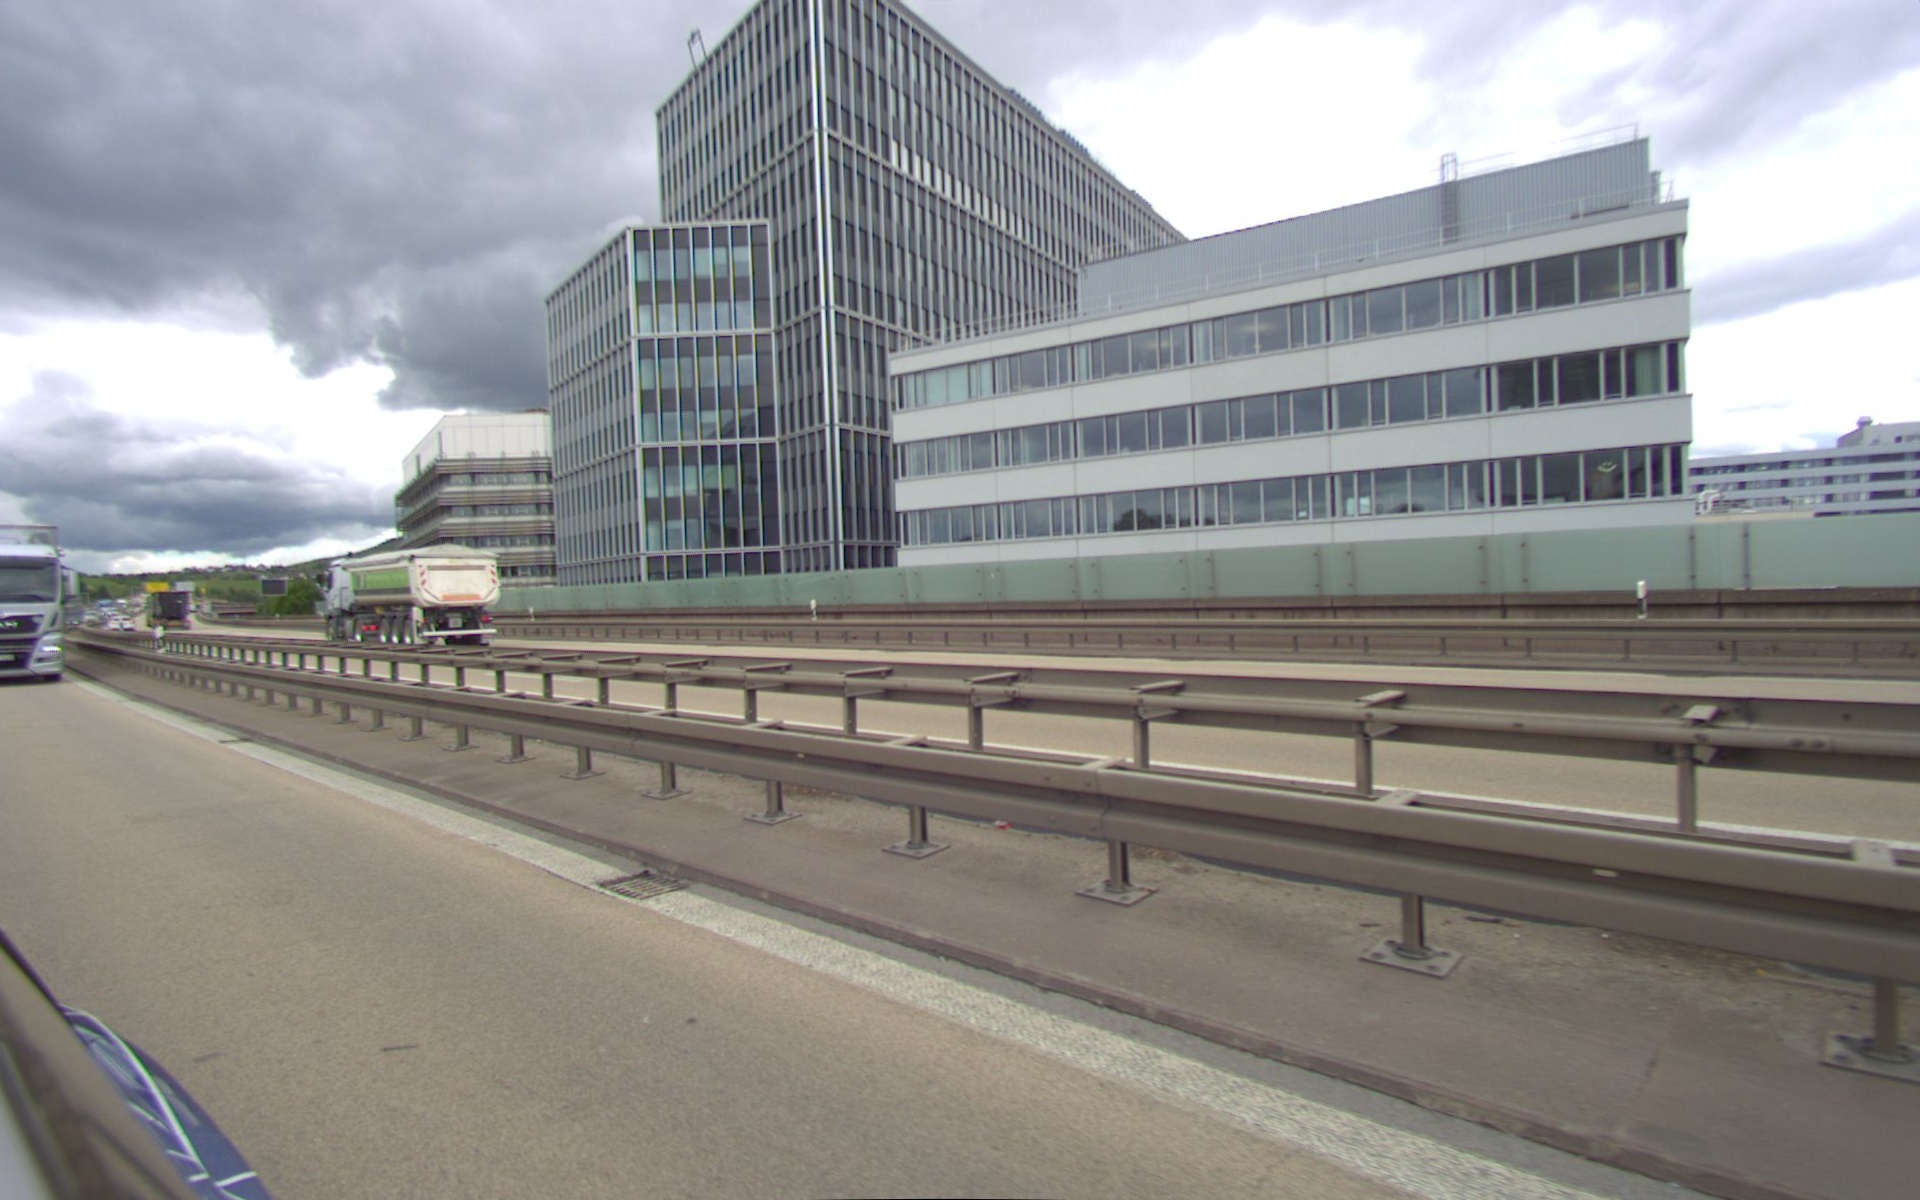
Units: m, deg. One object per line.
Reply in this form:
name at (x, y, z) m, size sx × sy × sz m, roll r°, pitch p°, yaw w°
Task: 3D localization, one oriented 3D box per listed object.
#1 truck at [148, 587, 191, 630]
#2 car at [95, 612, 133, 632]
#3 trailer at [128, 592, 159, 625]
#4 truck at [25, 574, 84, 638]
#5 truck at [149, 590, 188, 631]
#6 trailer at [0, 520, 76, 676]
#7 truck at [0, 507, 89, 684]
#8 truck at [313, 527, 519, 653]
truck at (-78.701, 0.795, 100.677) m, size 3.019 × 4.096 × 8.677 m, roll -1°, pitch 0°, yaw -40°
car at (-73.265, 1.892, 87.645) m, size 4.808 × 1.618 × 1.971 m, roll -1°, pitch 0°, yaw 44°
trailer at (-107.081, 1.052, 132.645) m, size 2.809 × 4.017 × 11.905 m, roll -1°, pitch 2°, yaw -40°
truck at (-70.027, 0.458, 78.152) m, size 3.021 × 4.596 × 12.081 m, roll -1°, pitch 0°, yaw -43°
truck at (-85.071, 1.100, 108.680) m, size 3.018 × 4.096 × 11.878 m, roll -1°, pitch 0°, yaw -39°
trailer at (-29.241, 0.036, 30.457) m, size 3.145 × 4.056 × 11.772 m, roll -3°, pitch 1°, yaw -45°
truck at (-24.171, -0.072, 25.271) m, size 5.691 × 4.067 × 3.099 m, roll -1°, pitch 2°, yaw 45°
truck at (-19.749, -0.272, 36.096) m, size 3.022 × 3.804 × 12.525 m, roll -1°, pitch 0°, yaw -45°
